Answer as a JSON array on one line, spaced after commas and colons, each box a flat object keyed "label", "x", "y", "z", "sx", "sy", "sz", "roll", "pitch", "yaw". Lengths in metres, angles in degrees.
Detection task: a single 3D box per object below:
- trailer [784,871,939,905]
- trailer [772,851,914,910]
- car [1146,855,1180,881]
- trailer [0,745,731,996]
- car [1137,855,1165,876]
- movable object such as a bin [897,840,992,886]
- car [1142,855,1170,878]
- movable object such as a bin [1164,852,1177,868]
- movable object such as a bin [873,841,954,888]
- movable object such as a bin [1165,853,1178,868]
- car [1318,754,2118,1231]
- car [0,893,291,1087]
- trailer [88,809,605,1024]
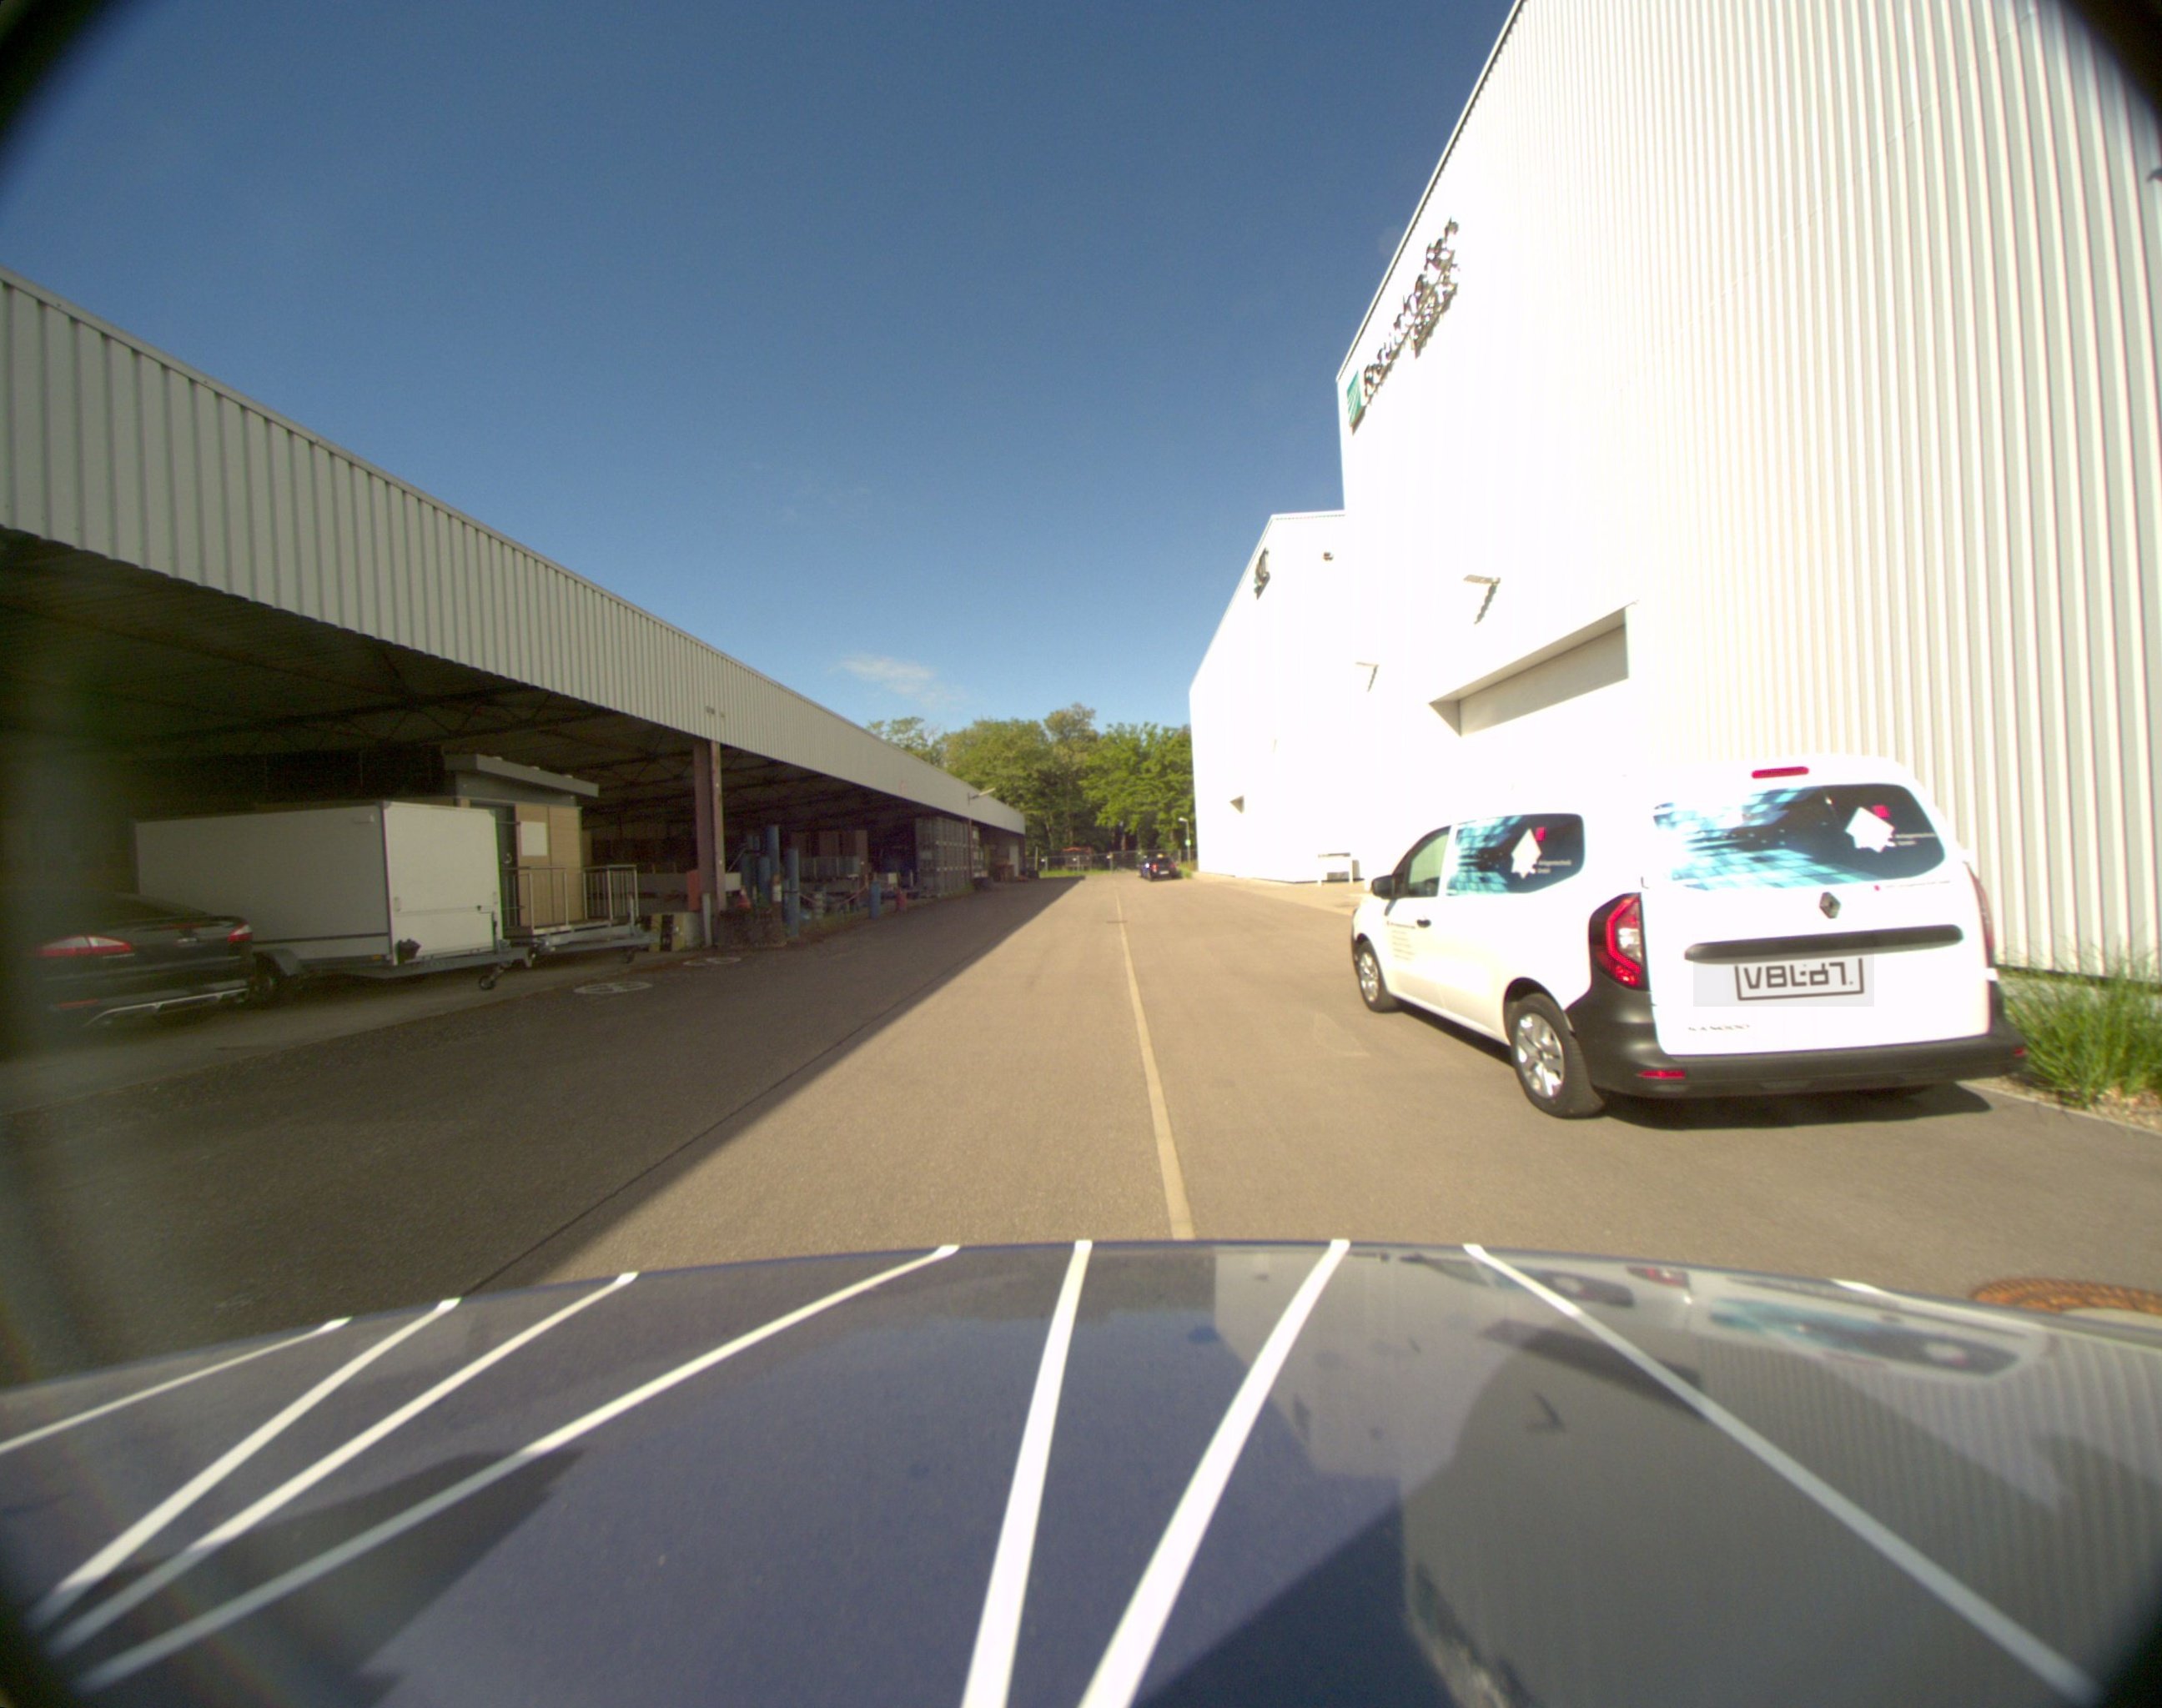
[{"label": "trailer", "x": -8.904, "y": 1.366, "z": 31.199, "sx": 5.742, "sy": 1.178, "sz": 1.974, "roll": -1, "pitch": 0, "yaw": 1}, {"label": "trailer", "x": -8.633, "y": 0.931, "z": 27.843, "sx": 4.433, "sy": 1.979, "sz": 2.163, "roll": -1, "pitch": 1, "yaw": 4}, {"label": "car", "x": 5.160, "y": 0.883, "z": 48.301, "sx": 1.760, "sy": 1.437, "sz": 4.316, "roll": -4, "pitch": -1, "yaw": 3}, {"label": "trailer", "x": -11.370, "y": 0.283, "z": 12.099, "sx": 10.292, "sy": 3.323, "sz": 2.802, "roll": -1, "pitch": 0, "yaw": 3}, {"label": "car", "x": 5.359, "y": 0.907, "z": 58.558, "sx": 1.715, "sy": 1.440, "sz": 3.799, "roll": -4, "pitch": -1, "yaw": 1}, {"label": "movable object such as a bin", "x": -9.419, "y": 0.606, "z": 52.856, "sx": 5.847, "sy": 2.908, "sz": 2.821, "roll": -2, "pitch": 0, "yaw": 3}, {"label": "car", "x": 5.202, "y": 0.864, "z": 53.048, "sx": 1.551, "sy": 1.479, "sz": 3.523, "roll": -4, "pitch": -1, "yaw": 1}, {"label": "movable object such as a bin", "x": 8.913, "y": 0.601, "z": 75.552, "sx": 1.140, "sy": 1.469, "sz": 1.280, "roll": -1, "pitch": -1, "yaw": 3}, {"label": "movable object such as a bin", "x": -10.891, "y": 0.691, "z": 49.635, "sx": 4.537, "sy": 2.814, "sz": 2.498, "roll": -2, "pitch": 0, "yaw": 3}, {"label": "movable object such as a bin", "x": 8.844, "y": 0.594, "z": 74.190, "sx": 1.140, "sy": 1.426, "sz": 1.289, "roll": -1, "pitch": 0, "yaw": 3}, {"label": "car", "x": 3.262, "y": 0.553, "z": 5.345, "sx": 1.788, "sy": 1.805, "sz": 4.602, "roll": -4, "pitch": 0, "yaw": 2}, {"label": "car", "x": -10.439, "y": 1.214, "z": 7.012, "sx": 4.259, "sy": 1.463, "sz": 1.870, "roll": -2, "pitch": 0, "yaw": -1}, {"label": "trailer", "x": -8.876, "y": 0.712, "z": 9.504, "sx": 4.526, "sy": 2.328, "sz": 2.047, "roll": -1, "pitch": 1, "yaw": 3}]
